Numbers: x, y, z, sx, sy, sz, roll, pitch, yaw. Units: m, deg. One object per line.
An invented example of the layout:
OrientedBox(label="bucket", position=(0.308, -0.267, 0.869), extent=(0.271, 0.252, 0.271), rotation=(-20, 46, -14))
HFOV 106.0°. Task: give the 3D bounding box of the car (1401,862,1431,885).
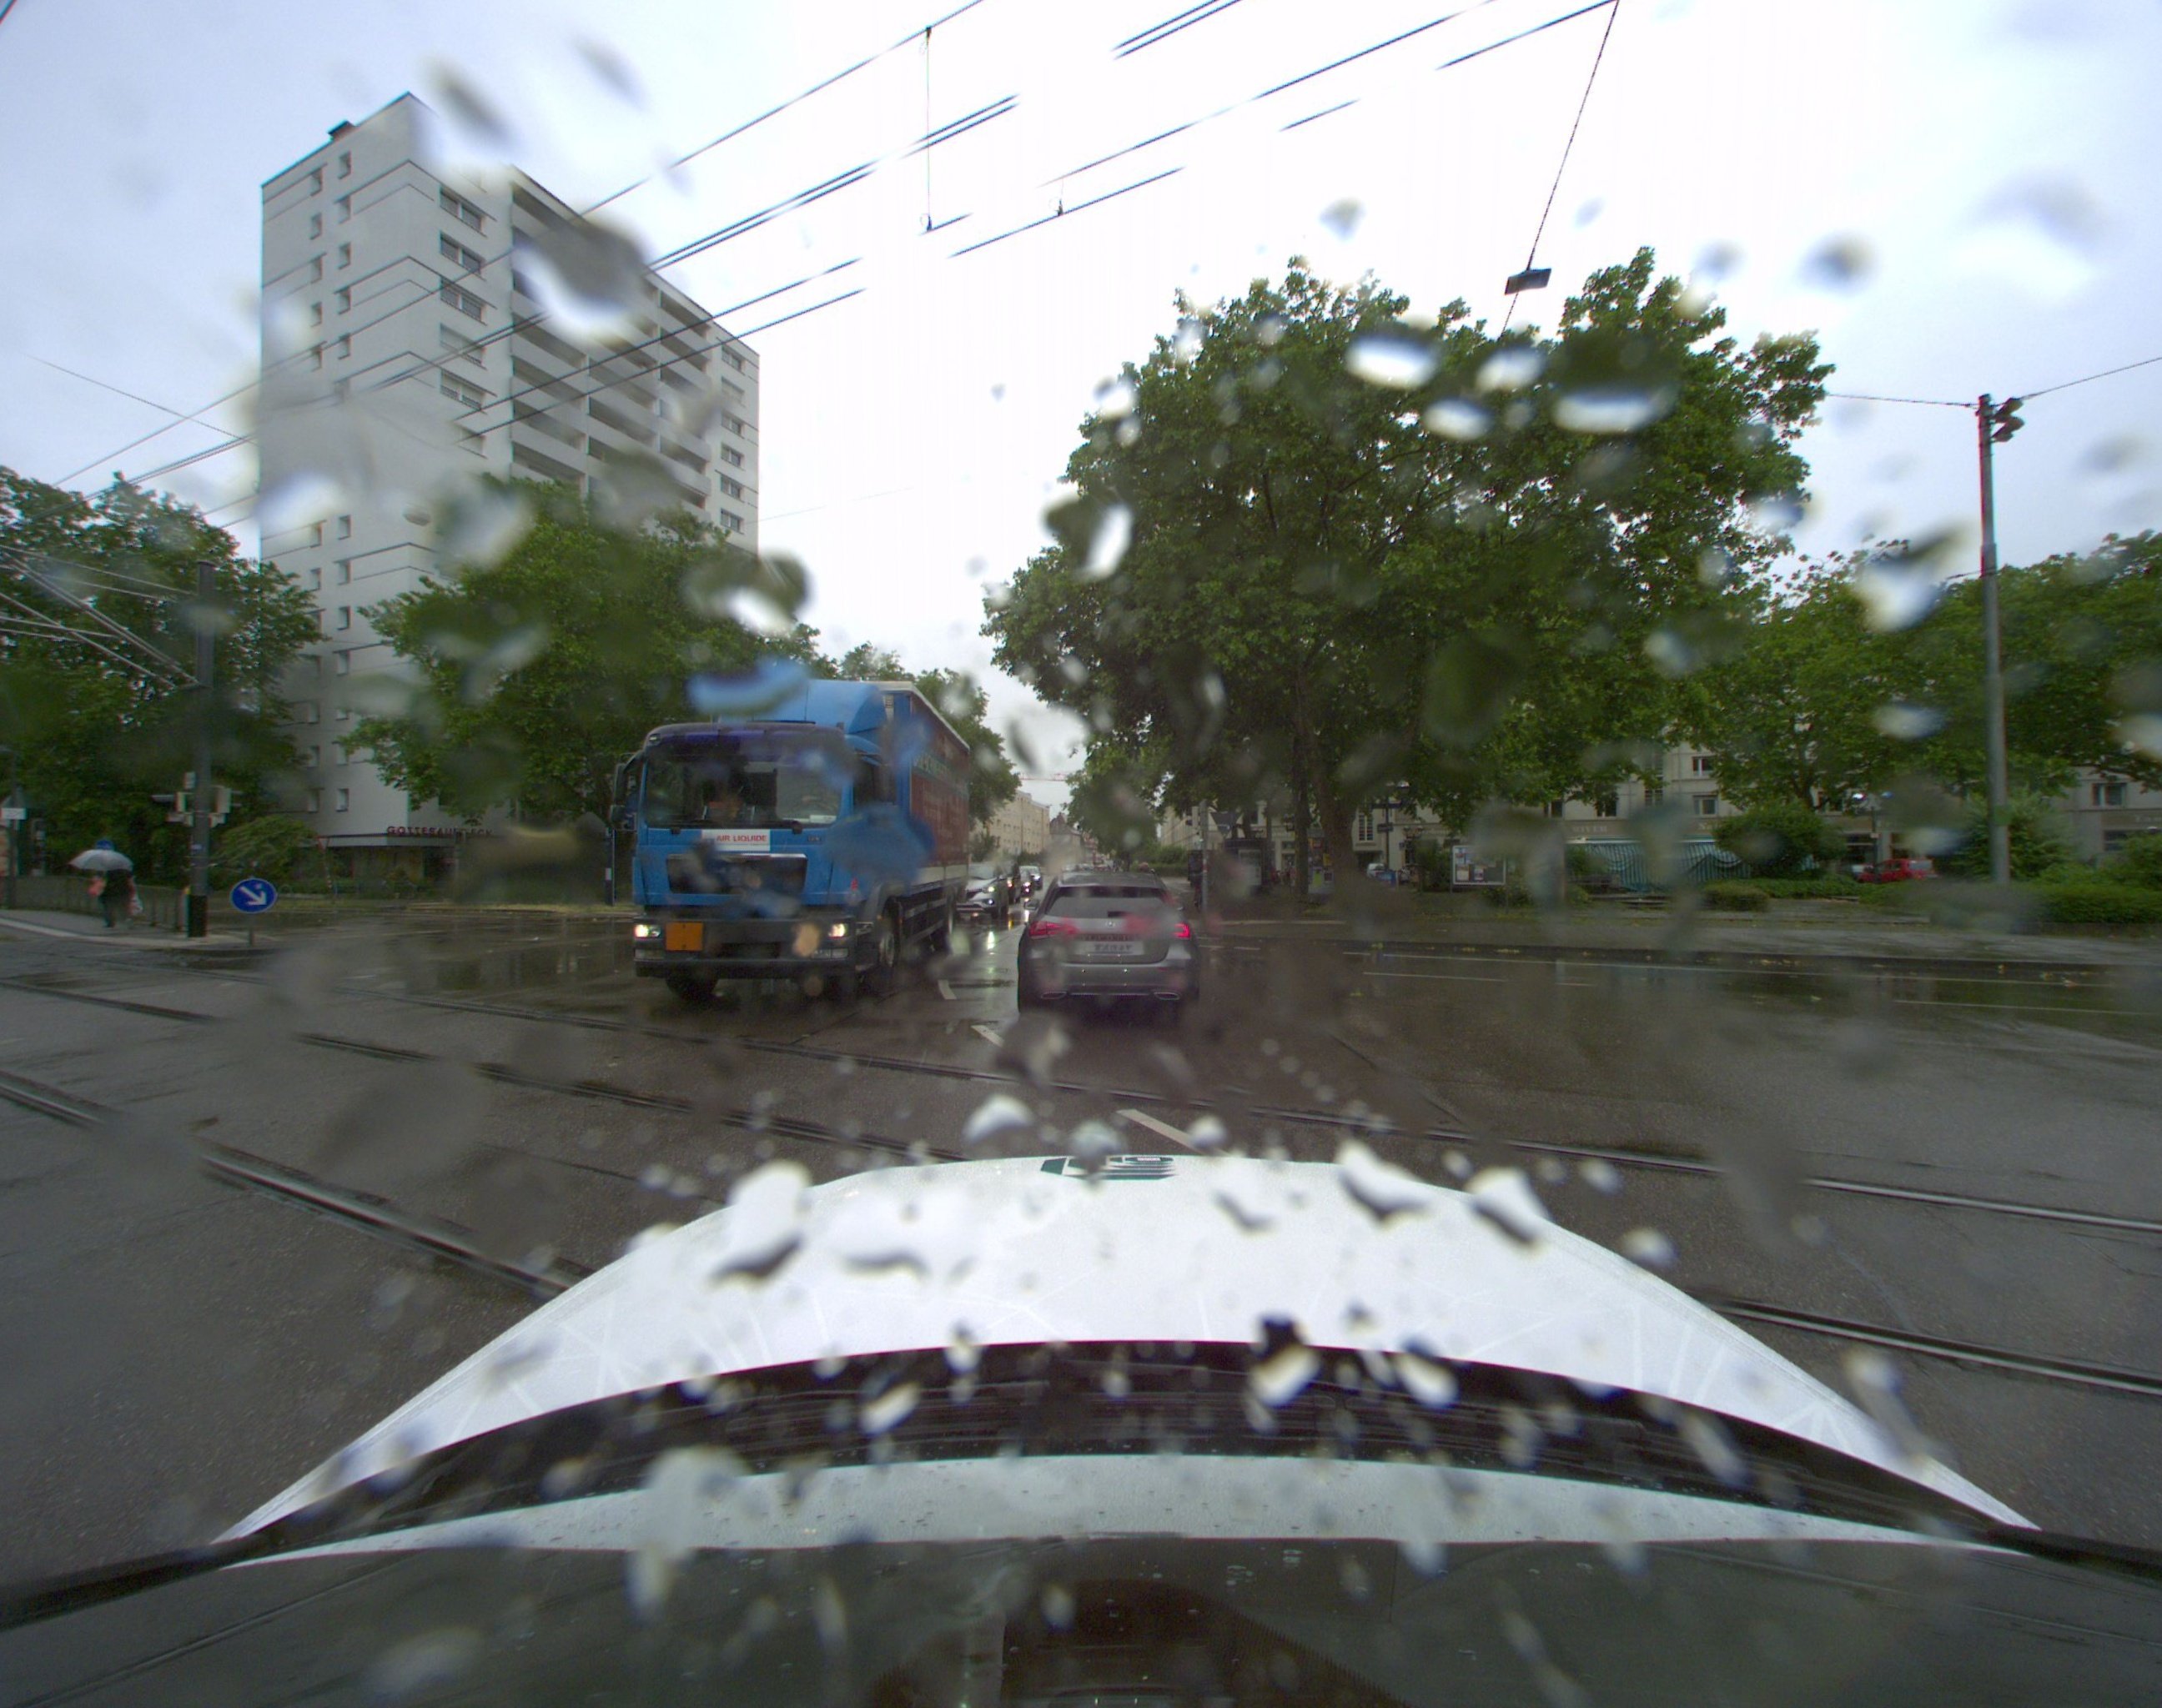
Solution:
OrientedBox(label="car", position=(23.061, 1.380, 56.024), extent=(1.664, 1.432, 3.757), rotation=(-1, -3, 26))

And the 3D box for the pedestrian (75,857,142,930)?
OrientedBox(label="pedestrian", position=(-22.680, 0.903, 19.007), extent=(0.807, 1.648, 0.798), rotation=(-2, -1, 23))

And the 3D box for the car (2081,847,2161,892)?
OrientedBox(label="car", position=(54.218, 0.842, 42.051), extent=(1.535, 2.204, 4.121), rotation=(-1, -3, 25))

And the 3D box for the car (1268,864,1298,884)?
OrientedBox(label="car", position=(14.711, 1.458, 59.302), extent=(1.568, 1.337, 3.279), rotation=(-1, -3, 24))

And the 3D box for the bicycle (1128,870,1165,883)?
OrientedBox(label="bicycle", position=(5.945, 2.035, 74.248), extent=(3.215, 1.112, 1.047), rotation=(0, -3, -19))

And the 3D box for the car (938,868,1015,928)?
OrientedBox(label="car", position=(-3.008, 1.234, 24.153), extent=(1.736, 1.604, 4.000), rotation=(0, -1, 0))

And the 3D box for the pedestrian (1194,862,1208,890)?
OrientedBox(label="pedestrian", position=(7.247, 1.320, 49.327), extent=(0.714, 1.669, 0.664), rotation=(0, -1, -2))

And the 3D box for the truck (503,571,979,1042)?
OrientedBox(label="truck", position=(-3.575, -0.370, 12.189), extent=(2.837, 4.025, 10.312), rotation=(-1, -1, -1))

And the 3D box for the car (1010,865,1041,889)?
OrientedBox(label="car", position=(-3.688, 1.515, 54.515), extent=(1.840, 1.510, 4.053), rotation=(0, -1, -1))

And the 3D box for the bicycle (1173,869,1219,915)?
OrientedBox(label="bicycle", position=(3.778, 1.214, 26.513), extent=(0.742, 1.377, 2.722), rotation=(-2, -1, 24))

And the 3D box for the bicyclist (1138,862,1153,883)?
OrientedBox(label="bicyclist", position=(5.877, 1.726, 74.195), extent=(0.941, 1.868, 1.135), rotation=(0, -3, -18))

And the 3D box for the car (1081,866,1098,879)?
OrientedBox(label="car", position=(1.064, 2.227, 100.509), extent=(1.988, 1.574, 3.998), rotation=(0, -1, -1))

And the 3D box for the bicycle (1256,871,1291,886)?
OrientedBox(label="bicycle", position=(13.066, 1.677, 55.316), extent=(2.232, 0.968, 0.537), rotation=(-1, -1, 23))

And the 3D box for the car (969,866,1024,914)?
OrientedBox(label="car", position=(-3.406, 1.429, 33.589), extent=(1.801, 1.862, 4.109), rotation=(0, -1, 0))

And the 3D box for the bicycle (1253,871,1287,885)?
OrientedBox(label="bicycle", position=(13.067, 1.674, 56.402), extent=(2.227, 0.968, 0.588), rotation=(-1, -1, 23))

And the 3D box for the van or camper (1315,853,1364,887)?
OrientedBox(label="van or camper", position=(18.439, 1.130, 57.916), extent=(2.374, 2.231, 5.462), rotation=(-1, -1, 27))

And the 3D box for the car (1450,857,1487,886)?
OrientedBox(label="car", position=(25.808, 1.224, 54.335), extent=(2.135, 1.838, 4.022), rotation=(-1, -3, 25))

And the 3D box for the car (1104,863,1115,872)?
OrientedBox(label="car", position=(5.904, 2.795, 168.874), extent=(2.037, 1.836, 4.796), rotation=(0, -1, 4))

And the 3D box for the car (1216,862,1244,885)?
OrientedBox(label="car", position=(11.063, 1.482, 60.292), extent=(1.676, 1.551, 3.536), rotation=(-1, -3, 15))

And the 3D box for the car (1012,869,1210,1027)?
OrientedBox(label="car", position=(0.277, 0.889, 9.158), extent=(1.785, 1.372, 3.506), rotation=(1, -1, 0))

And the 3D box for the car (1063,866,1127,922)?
OrientedBox(label="car", position=(0.366, 1.046, 22.753), extent=(1.602, 1.372, 3.999), rotation=(-1, -1, 0))

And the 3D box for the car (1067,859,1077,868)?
OrientedBox(label="car", position=(-1.967, 2.016, 176.340), extent=(1.881, 1.836, 4.004), rotation=(0, -1, 4))

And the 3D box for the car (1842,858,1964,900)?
OrientedBox(label="car", position=(31.625, 0.933, 31.464), extent=(1.650, 1.521, 3.693), rotation=(-1, -1, 15))

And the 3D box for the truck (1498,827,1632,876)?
OrientedBox(label="truck", position=(27.802, -0.086, 47.047), extent=(6.325, 2.700, 2.279), rotation=(-1, -2, 21))

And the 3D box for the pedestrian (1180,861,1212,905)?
OrientedBox(label="pedestrian", position=(3.743, 0.929, 26.472), extent=(0.737, 1.398, 1.053), rotation=(-2, -1, 24))

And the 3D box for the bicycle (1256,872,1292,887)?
OrientedBox(label="bicycle", position=(12.921, 1.700, 54.570), extent=(2.261, 0.983, 0.548), rotation=(-1, -1, 23))

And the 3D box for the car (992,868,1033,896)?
OrientedBox(label="car", position=(-3.563, 1.460, 42.942), extent=(1.736, 1.390, 4.362), rotation=(1, -2, 0))

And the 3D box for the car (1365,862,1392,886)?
OrientedBox(label="car", position=(20.759, 1.385, 56.779), extent=(1.665, 1.575, 3.754), rotation=(-1, -2, 20))
